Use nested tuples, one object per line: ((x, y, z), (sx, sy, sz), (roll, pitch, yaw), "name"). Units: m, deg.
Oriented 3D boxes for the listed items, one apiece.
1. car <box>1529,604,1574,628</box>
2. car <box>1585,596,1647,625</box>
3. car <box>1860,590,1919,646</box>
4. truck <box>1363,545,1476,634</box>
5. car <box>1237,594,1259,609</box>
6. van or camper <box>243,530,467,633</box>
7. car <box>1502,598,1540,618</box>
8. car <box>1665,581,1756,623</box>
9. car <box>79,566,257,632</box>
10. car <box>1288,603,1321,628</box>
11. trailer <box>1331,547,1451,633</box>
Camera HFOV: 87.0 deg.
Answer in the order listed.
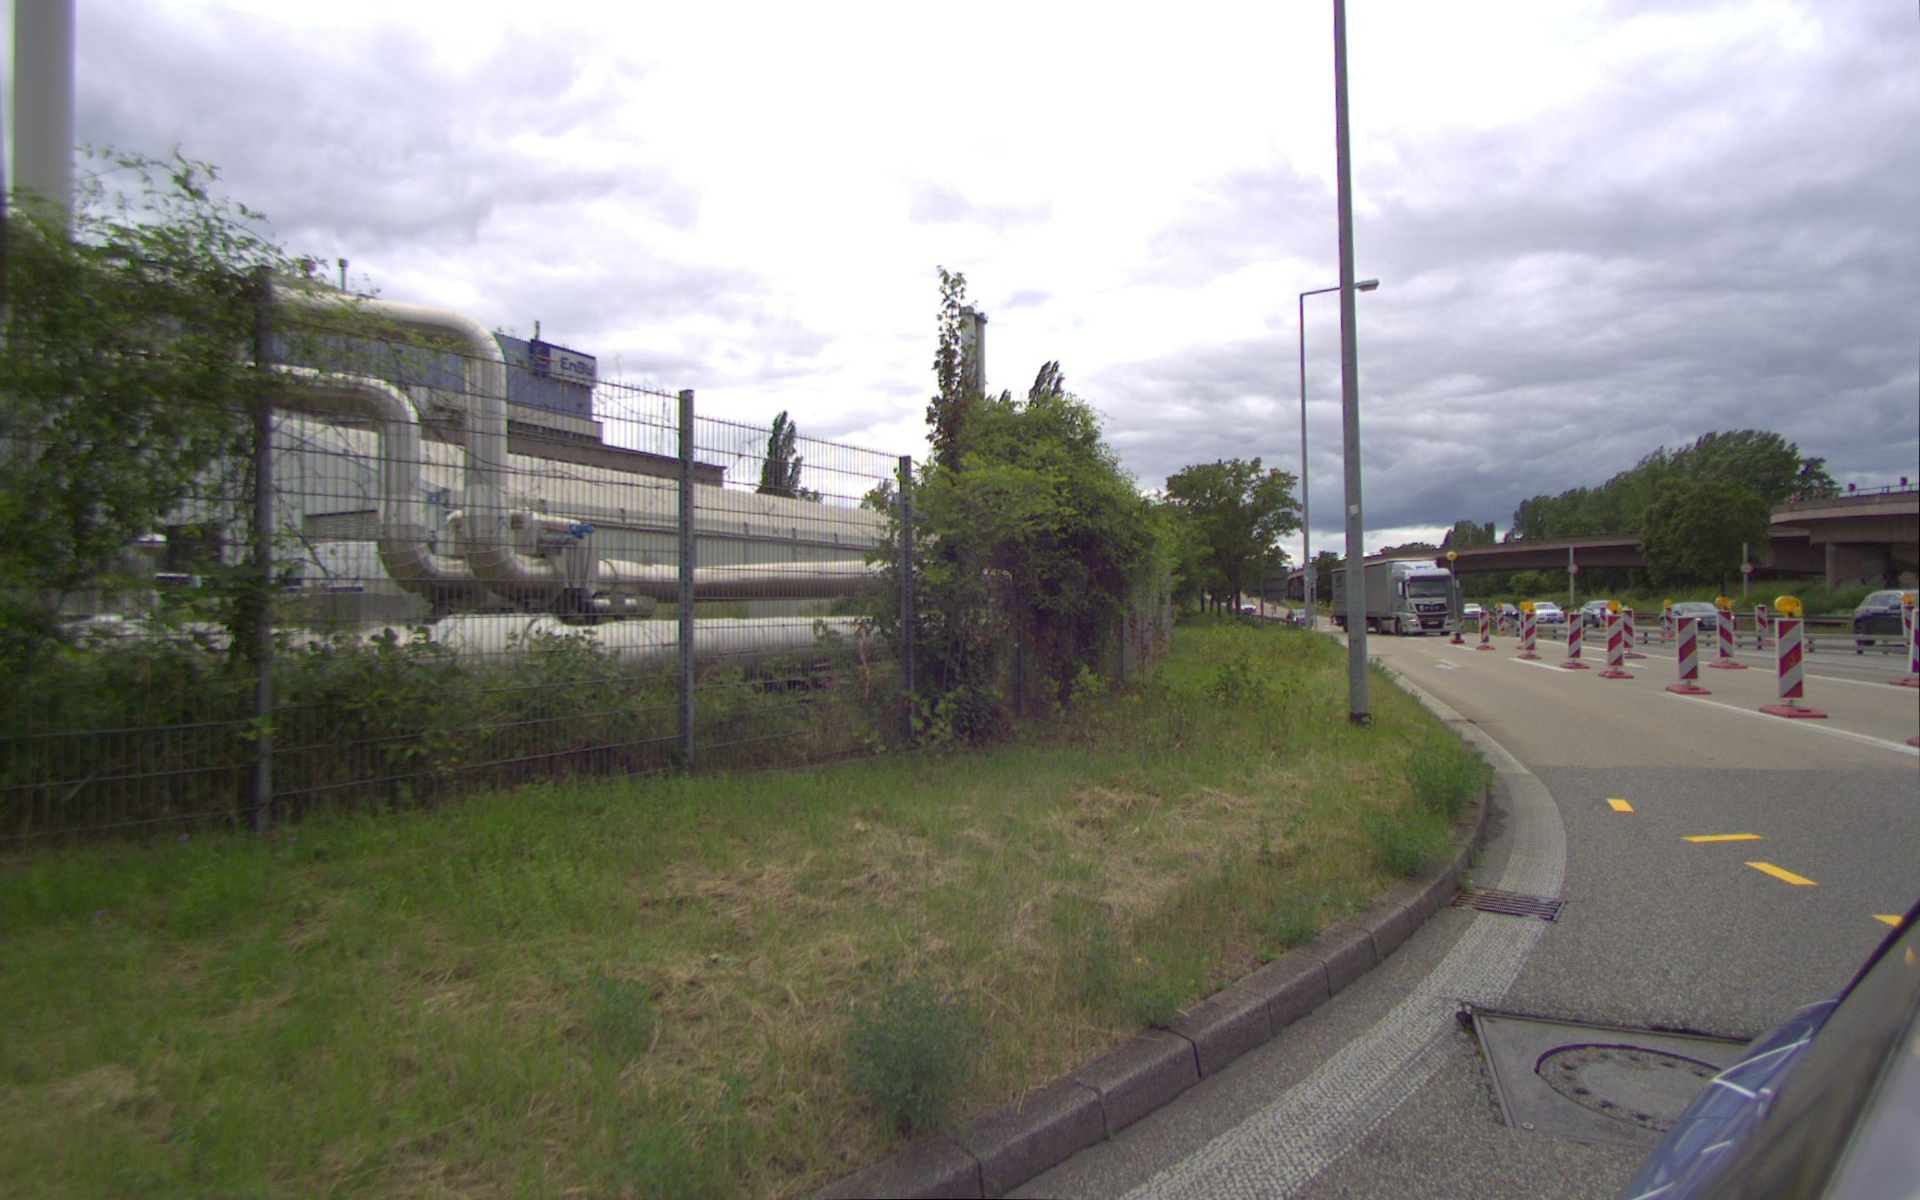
((41.973, 1.092, 71.855), (1.974, 1.614, 3.975), (0, 0, 19), "car")
((37.200, 0.586, 57.464), (1.777, 1.530, 3.982), (0, 1, 15), "car")
((28.012, 0.480, 28.803), (1.955, 1.530, 4.267), (-2, 0, 18), "car")
((24.189, -0.466, 53.781), (3.112, 4.184, 8.119), (-3, -1, 9), "truck")
((36.138, 0.203, 127.126), (1.958, 1.886, 3.932), (0, -1, 6), "car")
((-16.722, -0.438, 27.922), (6.066, 2.581, 2.552), (-1, 0, 27), "van or camper")
((46.030, 0.612, 83.092), (1.974, 1.614, 4.266), (0, 0, 19), "car")
((33.671, 0.087, 45.531), (1.909, 1.725, 3.981), (-2, 0, 15), "car")
((-26.308, -0.037, 33.807), (1.975, 2.039, 4.311), (-1, 0, 20), "car")
((29.128, 1.315, 85.676), (1.968, 2.039, 3.988), (0, -1, 10), "car")
((25.113, -0.459, 59.919), (3.114, 4.379, 13.227), (-2, -1, 9), "trailer")
